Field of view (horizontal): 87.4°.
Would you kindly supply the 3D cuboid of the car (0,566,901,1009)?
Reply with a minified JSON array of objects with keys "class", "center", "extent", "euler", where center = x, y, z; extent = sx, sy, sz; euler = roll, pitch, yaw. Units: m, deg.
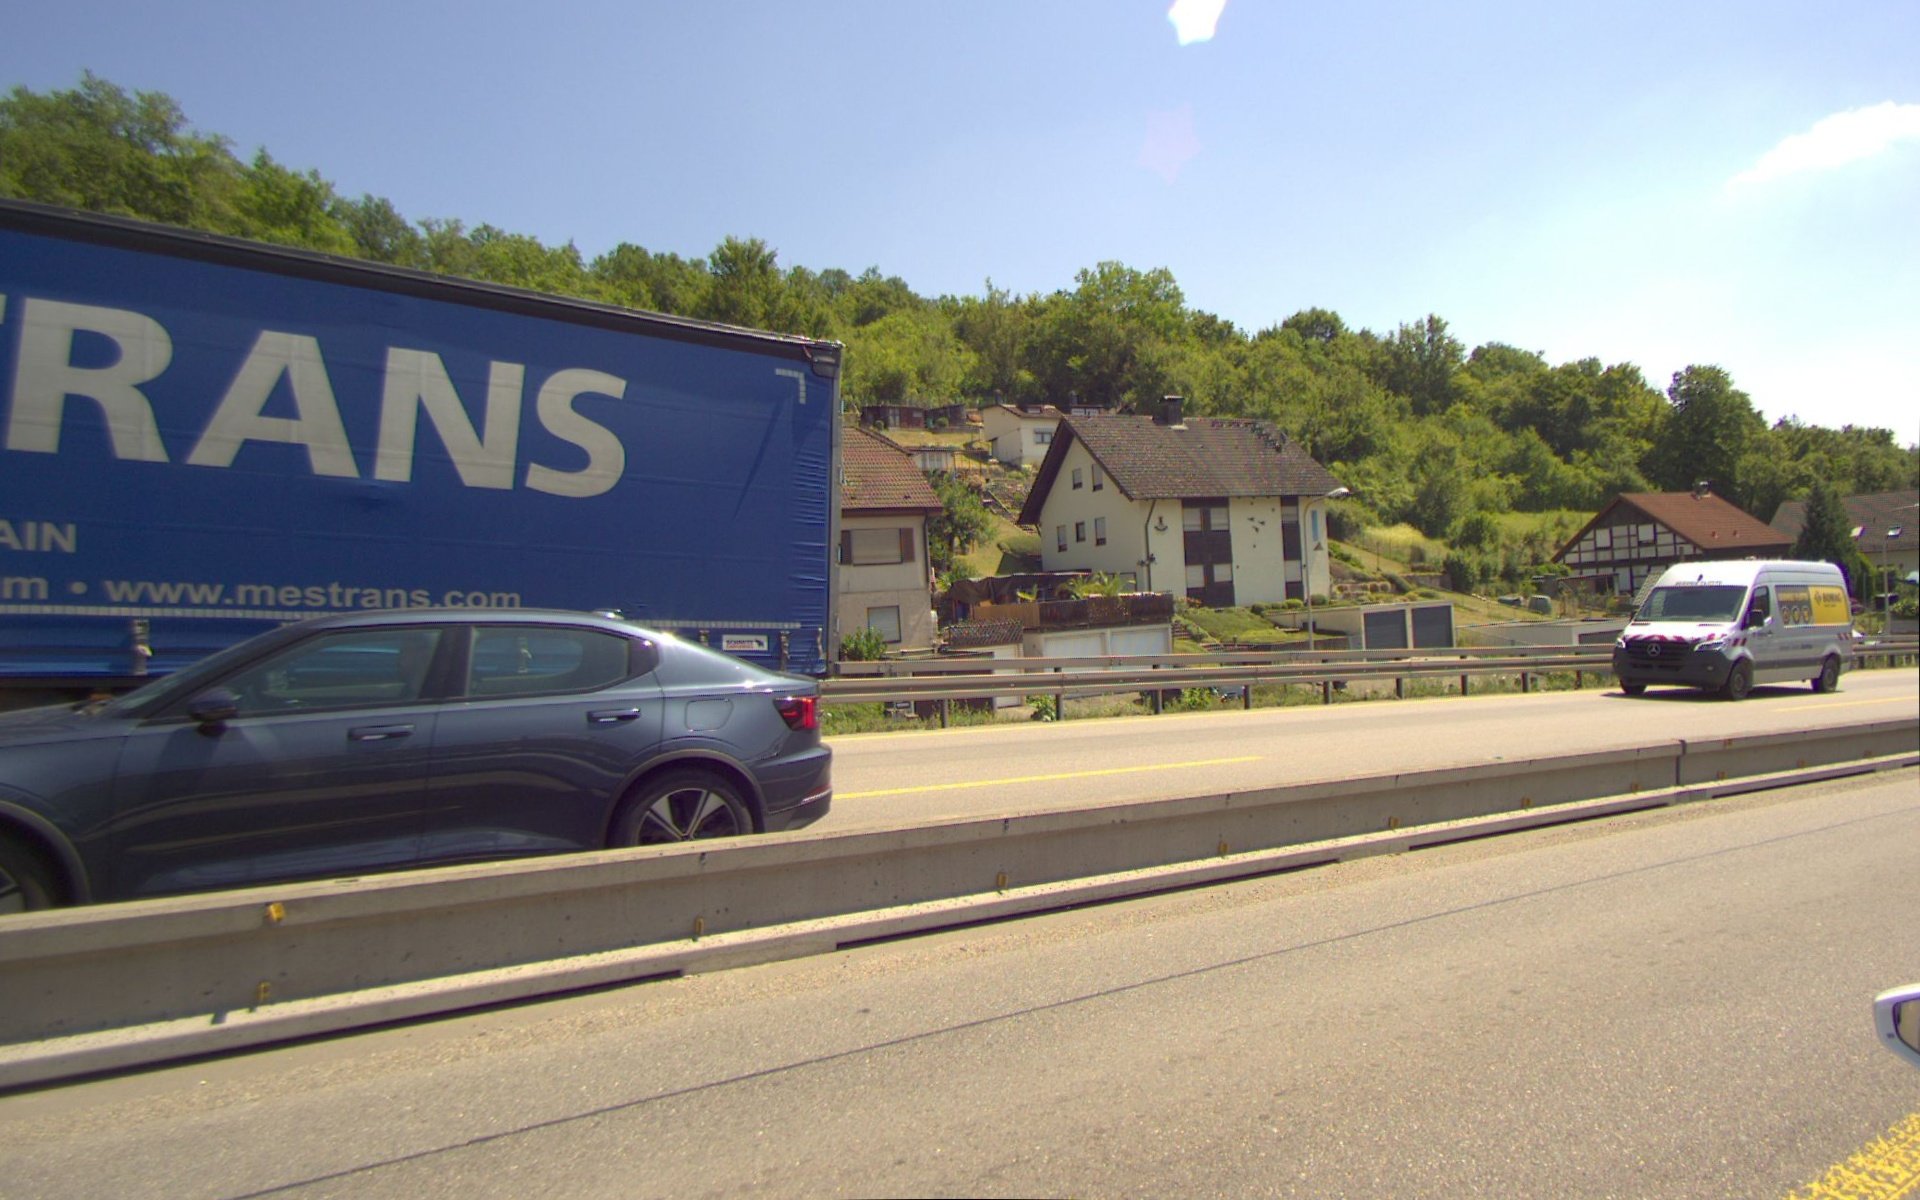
[{"class":"car","center":[-2.707,0.690,5.071],"extent":[4.507,1.567,1.841],"euler":[1,-1,-32]}]

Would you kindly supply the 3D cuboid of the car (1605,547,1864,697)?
[{"class":"car","center":[15.527,0.439,20.038],"extent":[5.907,2.638,1.996],"euler":[1,-1,-30]}]

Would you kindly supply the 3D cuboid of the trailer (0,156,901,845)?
[{"class":"trailer","center":[-6.337,-0.579,7.495],"extent":[11.680,4.134,3.120],"euler":[1,-1,-31]}]
